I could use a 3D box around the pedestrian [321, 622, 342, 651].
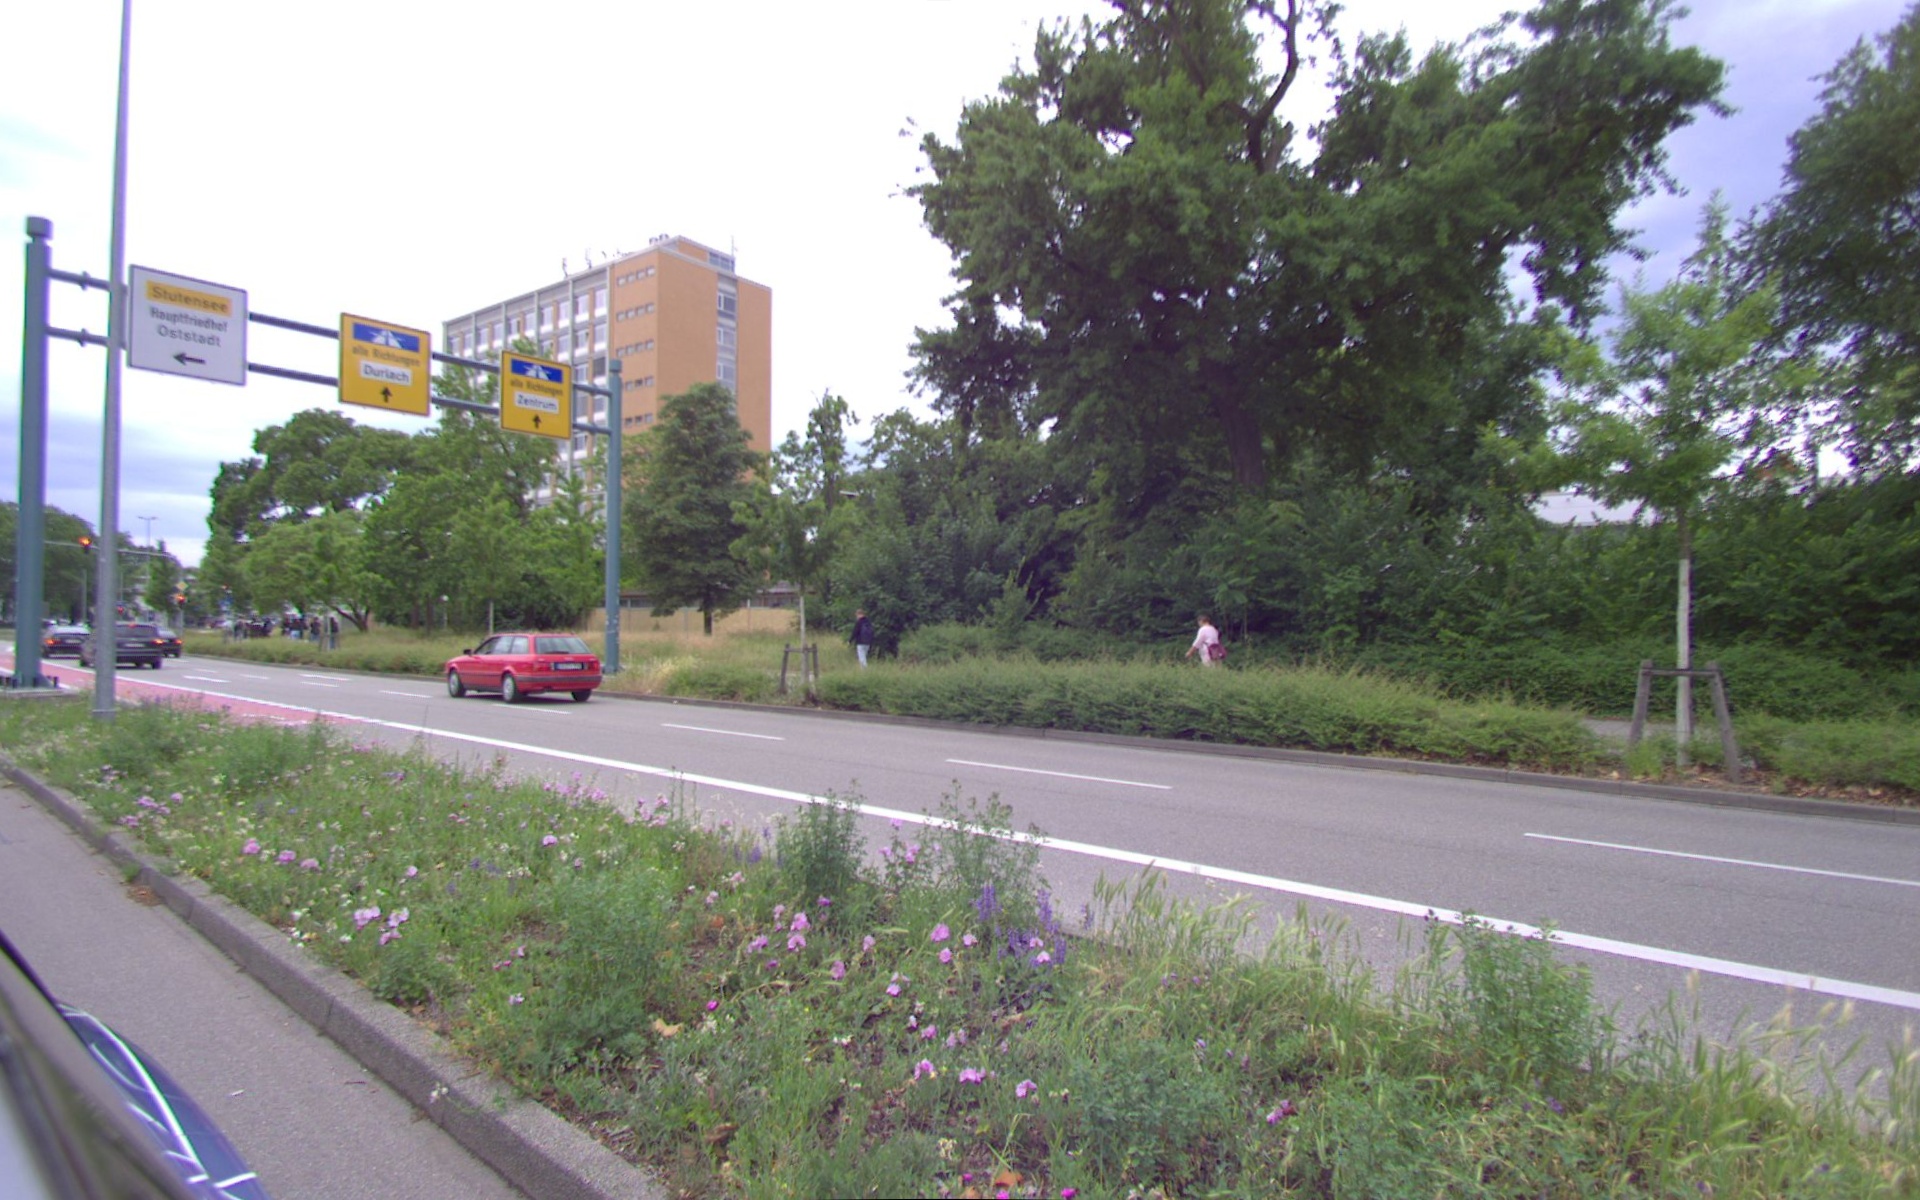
[{"bbox_3d":[-30.547,1.790,49.179,0.680,1.373,0.638,-2,-4,39],"label":"pedestrian"}]

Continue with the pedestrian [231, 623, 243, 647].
[{"bbox_3d":[-55.944,2.707,78.305,0.762,1.815,0.630,-2,-3,44],"label":"pedestrian"}]

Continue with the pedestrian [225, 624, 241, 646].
[{"bbox_3d":[-50.276,2.394,69.963,0.813,1.491,0.720,-2,-4,44],"label":"pedestrian"}]

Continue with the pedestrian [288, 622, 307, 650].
[{"bbox_3d":[-40.486,2.197,61.837,0.823,1.625,0.631,-2,-1,19],"label":"pedestrian"}]

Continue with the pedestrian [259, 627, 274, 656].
[{"bbox_3d":[-39.656,2.351,57.898,0.652,1.644,0.765,3,-4,-34],"label":"pedestrian"}]

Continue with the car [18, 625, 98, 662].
[{"bbox_3d":[-39.173,1.883,43.927,4.786,1.471,1.746,-1,-4,39],"label":"car"}]

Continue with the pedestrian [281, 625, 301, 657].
[{"bbox_3d":[-35.319,2.180,53.419,0.719,1.673,0.580,-1,-4,35],"label":"pedestrian"}]

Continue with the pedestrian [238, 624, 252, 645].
[{"bbox_3d":[-49.872,2.411,70.621,0.762,1.491,0.628,-2,-4,44],"label":"pedestrian"}]

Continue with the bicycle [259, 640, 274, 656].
[{"bbox_3d":[-39.660,2.755,57.877,0.652,0.894,1.719,3,-3,-34],"label":"bicycle"}]

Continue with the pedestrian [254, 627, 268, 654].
[{"bbox_3d":[-44.977,2.611,65.142,0.570,1.725,0.764,2,-3,-27],"label":"pedestrian"}]

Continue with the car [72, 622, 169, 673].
[{"bbox_3d":[-29.554,1.650,35.583,4.397,1.677,1.900,-1,-3,41],"label":"car"}]

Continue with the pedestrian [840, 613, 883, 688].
[{"bbox_3d":[-2.360,1.209,24.290,0.818,1.742,0.613,-2,-4,41],"label":"pedestrian"}]

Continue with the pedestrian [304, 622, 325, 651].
[{"bbox_3d":[-30.991,1.760,48.588,0.711,1.368,0.638,-2,-4,40],"label":"pedestrian"}]

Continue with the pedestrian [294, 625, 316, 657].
[{"bbox_3d":[-34.932,2.211,53.985,0.766,1.685,0.700,-1,-4,35],"label":"pedestrian"}]

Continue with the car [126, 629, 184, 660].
[{"bbox_3d":[-37.370,2.067,46.952,3.809,1.391,1.589,-2,-4,44],"label":"car"}]

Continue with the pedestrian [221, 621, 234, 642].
[{"bbox_3d":[-59.475,2.524,82.213,0.890,1.683,0.698,-2,-1,45],"label":"pedestrian"}]

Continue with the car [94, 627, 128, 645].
[{"bbox_3d":[-86.202,3.620,102.803,1.785,1.680,3.962,2,-2,-27],"label":"car"}]

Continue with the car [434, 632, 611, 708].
[{"bbox_3d":[-9.219,1.405,21.158,4.292,1.429,1.696,-2,-3,41],"label":"car"}]

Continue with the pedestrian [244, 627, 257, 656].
[{"bbox_3d":[-40.414,2.357,57.652,0.567,1.621,0.618,3,-4,-33],"label":"pedestrian"}]

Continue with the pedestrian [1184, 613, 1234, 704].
[{"bbox_3d":[4.632,1.084,18.802,0.671,1.648,0.693,-2,-4,41],"label":"pedestrian"}]
